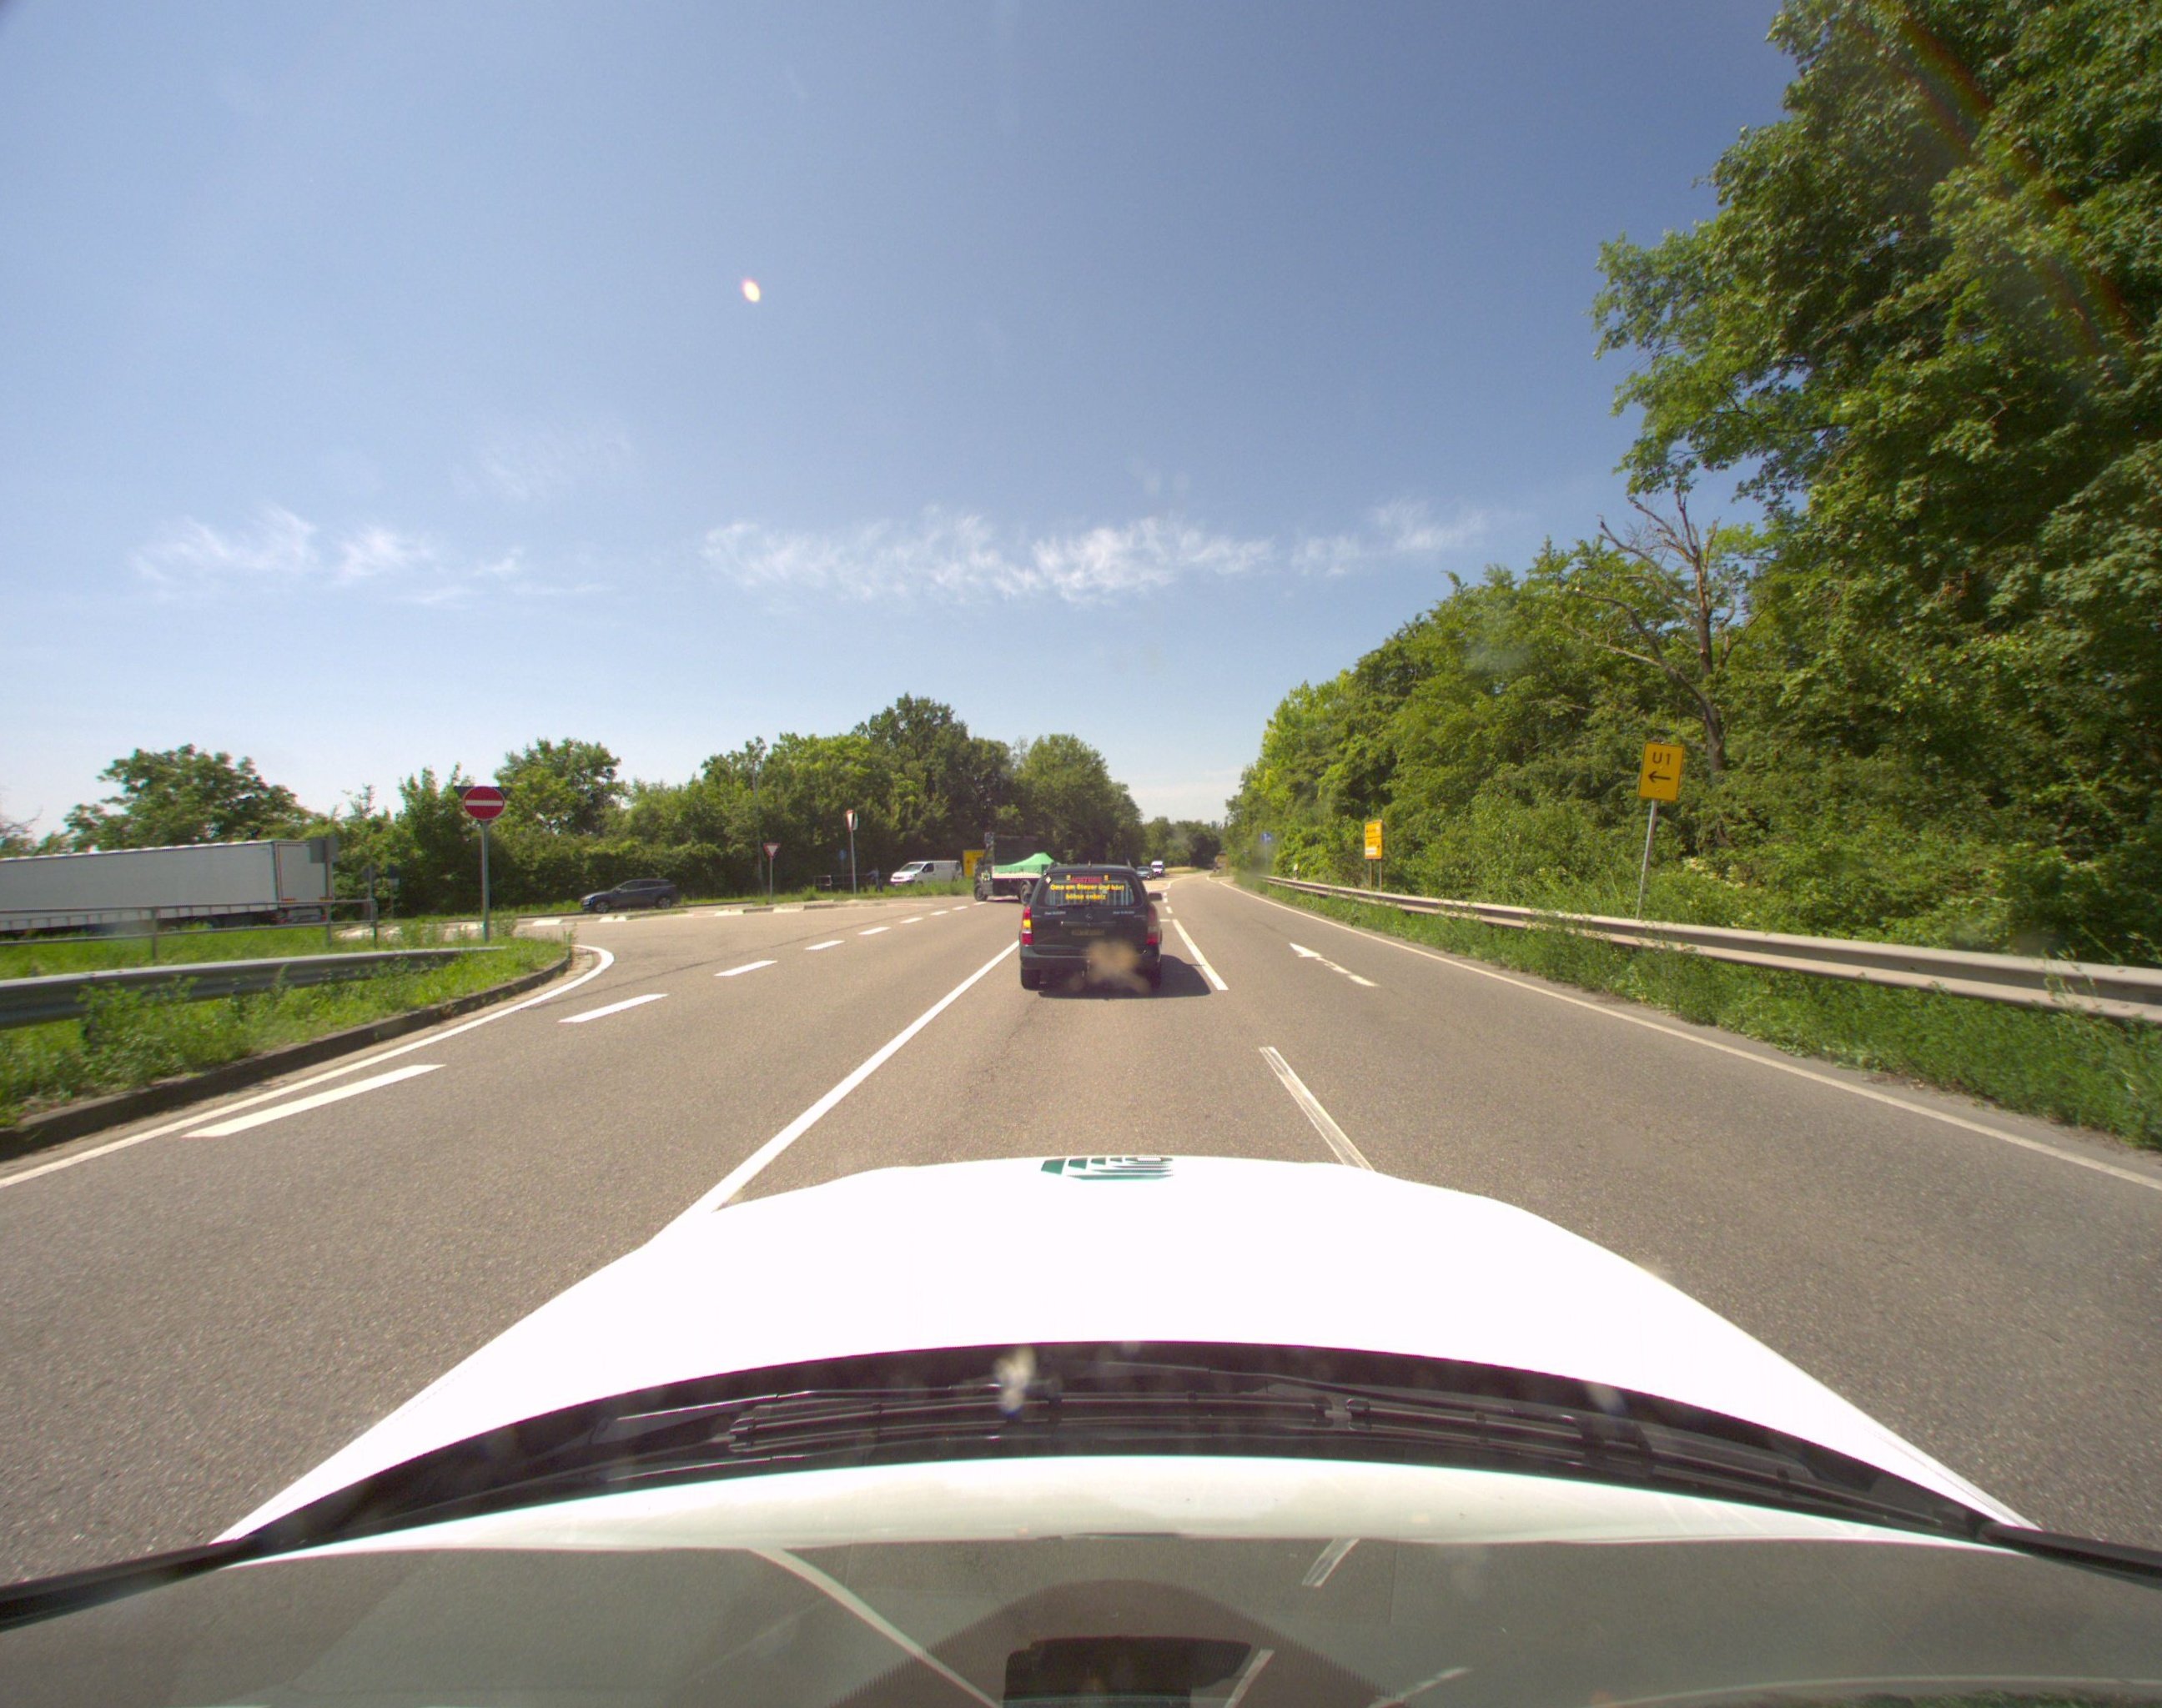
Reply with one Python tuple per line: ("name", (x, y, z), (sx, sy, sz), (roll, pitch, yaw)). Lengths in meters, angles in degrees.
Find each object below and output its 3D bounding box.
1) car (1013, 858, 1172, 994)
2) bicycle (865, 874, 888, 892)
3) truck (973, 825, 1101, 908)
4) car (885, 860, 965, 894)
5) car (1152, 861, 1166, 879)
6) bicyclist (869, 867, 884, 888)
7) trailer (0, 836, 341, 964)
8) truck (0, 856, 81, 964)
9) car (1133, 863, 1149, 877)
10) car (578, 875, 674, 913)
("car", (0.219, 0.798, 10.705), (1.713, 1.457, 3.800), (-1, -1, 3))
("bicycle", (-13.364, 1.896, 53.149), (0.431, 1.113, 1.491), (-2, -1, 36))
("truck", (-1.730, 0.412, 28.492), (2.149, 2.565, 6.584), (0, 0, -25))
("car", (-9.637, 1.379, 50.744), (1.991, 1.924, 5.226), (-1, 0, 29))
("car", (12.357, 2.536, 128.711), (2.094, 2.850, 6.022), (-1, -1, 6))
("bicyclist", (-13.360, 1.507, 53.173), (0.681, 1.363, 0.613), (-1, 0, 37))
("trailer", (-39.387, 1.942, 33.793), (13.718, 4.275, 2.995), (-5, 0, -4))
("truck", (-45.882, 2.449, 33.388), (5.886, 4.275, 3.001), (-4, 0, 2))
("car", (6.286, 1.658, 85.122), (1.636, 1.419, 3.771), (-1, -1, 5))
("car", (-21.721, 1.872, 38.900), (3.943, 1.596, 1.752), (-1, 0, -33))
